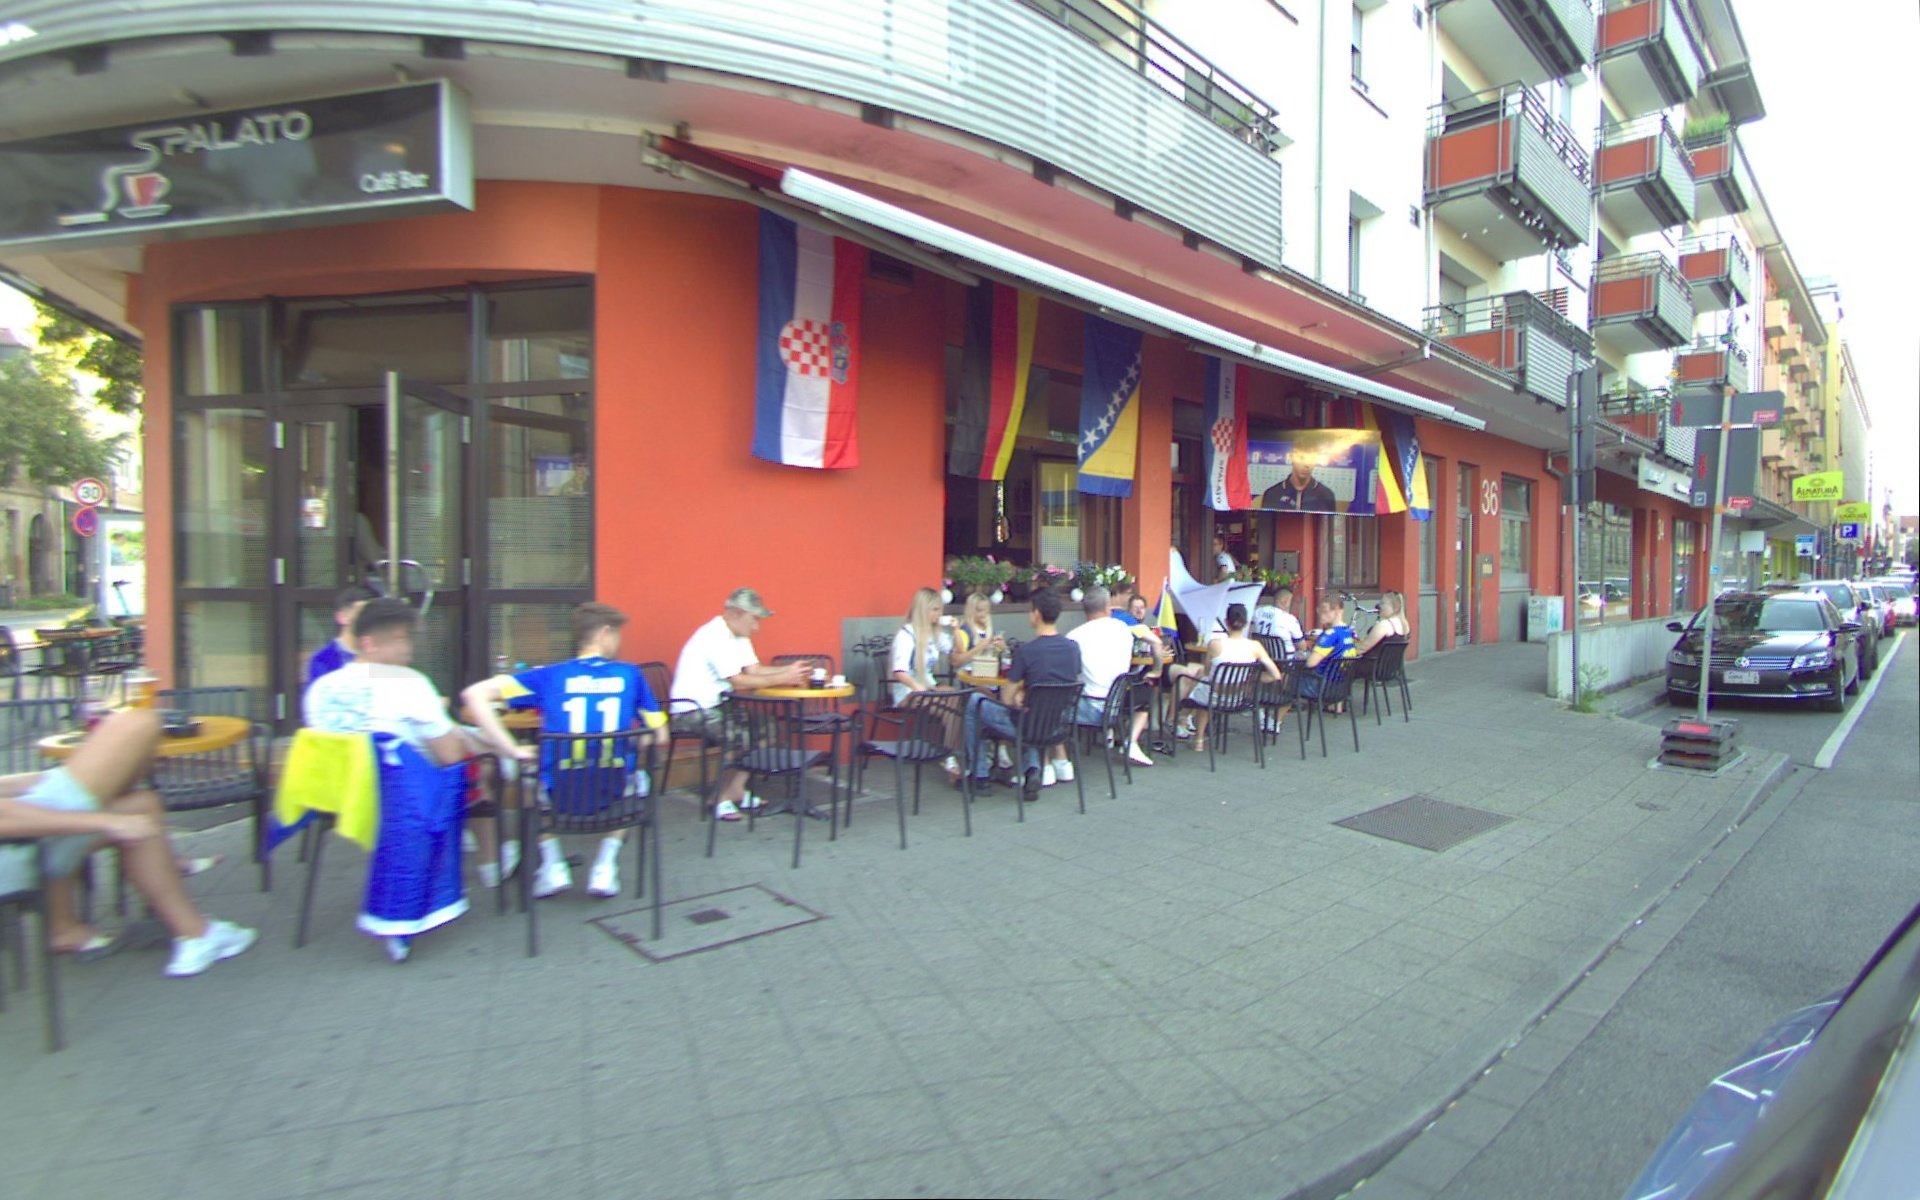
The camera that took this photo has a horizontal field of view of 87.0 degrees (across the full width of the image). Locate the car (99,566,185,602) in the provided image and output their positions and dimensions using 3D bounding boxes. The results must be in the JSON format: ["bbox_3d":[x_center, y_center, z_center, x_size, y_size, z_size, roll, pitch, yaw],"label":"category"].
[{"bbox_3d":[-37.417,-0.748,46.400,1.958,1.571,4.009,-1,2,-22],"label":"car"}]

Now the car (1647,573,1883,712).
[{"bbox_3d":[11.012,0.447,13.719,4.553,1.571,1.875,-1,1,-43],"label":"car"}]

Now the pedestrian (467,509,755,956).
[{"bbox_3d":[-1.408,0.443,4.076,0.839,1.554,0.713,-1,5,-44],"label":"pedestrian"}]

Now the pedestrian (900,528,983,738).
[{"bbox_3d":[-0.163,0.273,9.019,0.536,1.799,0.513,0,1,42],"label":"pedestrian"}]

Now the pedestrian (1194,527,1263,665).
[{"bbox_3d":[4.086,-0.067,15.414,0.799,2.039,0.670,-1,1,-35],"label":"pedestrian"}]

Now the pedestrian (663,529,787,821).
[{"bbox_3d":[-1.345,0.391,5.812,0.635,1.555,0.754,-1,0,-12],"label":"pedestrian"}]

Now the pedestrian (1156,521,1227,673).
[{"bbox_3d":[2.789,-0.041,12.189,0.610,1.760,0.608,0,1,44],"label":"pedestrian"}]

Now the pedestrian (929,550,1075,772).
[{"bbox_3d":[0.312,0.405,7.480,0.767,1.523,0.771,1,1,43],"label":"pedestrian"}]

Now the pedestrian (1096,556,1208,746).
[{"bbox_3d":[1.556,0.377,8.214,0.665,1.451,0.552,3,3,42],"label":"pedestrian"}]

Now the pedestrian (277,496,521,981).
[{"bbox_3d":[-2.030,0.439,3.714,0.675,1.555,0.715,2,1,-28],"label":"pedestrian"}]

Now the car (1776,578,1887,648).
[{"bbox_3d":[19.484,0.242,22.593,1.747,1.421,3.906,0,1,42],"label":"car"}]

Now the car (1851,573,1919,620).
[{"bbox_3d":[31.905,-0.145,34.497,4.229,1.495,1.894,-1,1,-43],"label":"car"}]

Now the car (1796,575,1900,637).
[{"bbox_3d":[23.193,0.107,26.378,3.883,1.495,1.764,-1,1,-45],"label":"car"}]

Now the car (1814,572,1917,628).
[{"bbox_3d":[26.341,-0.029,29.392,4.321,1.495,1.863,-1,1,-43],"label":"car"}]

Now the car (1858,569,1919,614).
[{"bbox_3d":[35.862,-0.340,38.507,4.291,1.637,1.997,-1,1,-41],"label":"car"}]

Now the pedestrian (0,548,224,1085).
[{"bbox_3d":[-2.808,0.553,2.899,0.761,1.399,0.834,1,2,19],"label":"pedestrian"}]

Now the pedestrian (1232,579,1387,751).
[{"bbox_3d":[2.922,0.501,8.515,0.835,1.321,0.880,-1,3,-25],"label":"pedestrian"}]

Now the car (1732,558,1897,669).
[{"bbox_3d":[15.117,0.186,17.830,1.879,1.721,4.071,0,1,45],"label":"car"}]

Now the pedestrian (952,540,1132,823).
[{"bbox_3d":[0.500,0.442,6.173,0.712,1.554,0.748,6,4,41],"label":"pedestrian"}]

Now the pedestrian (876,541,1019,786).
[{"bbox_3d":[-0.087,0.390,6.908,0.673,1.554,0.645,4,3,43],"label":"pedestrian"}]

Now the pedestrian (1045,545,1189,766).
[{"bbox_3d":[1.188,0.386,7.670,0.849,1.555,0.669,-1,0,42],"label":"pedestrian"}]

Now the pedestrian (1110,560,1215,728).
[{"bbox_3d":[1.820,0.371,9.098,0.712,1.439,0.592,-1,0,44],"label":"pedestrian"}]

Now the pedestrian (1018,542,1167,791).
[{"bbox_3d":[0.899,0.404,6.845,0.648,1.545,0.690,6,4,41],"label":"pedestrian"}]

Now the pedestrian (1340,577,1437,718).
[{"bbox_3d":[4.274,0.442,10.119,0.843,1.293,0.709,1,4,23],"label":"pedestrian"}]

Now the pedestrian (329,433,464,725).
[{"bbox_3d":[-4.271,-0.163,7.675,0.838,2.039,0.912,0,1,-31],"label":"pedestrian"}]

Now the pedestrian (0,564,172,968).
[{"bbox_3d":[-3.422,0.540,3.412,0.677,1.297,0.962,1,3,20],"label":"pedestrian"}]

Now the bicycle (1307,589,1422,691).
[{"bbox_3d":[4.836,0.433,12.017,0.548,1.101,1.973,-1,0,44],"label":"bicycle"}]

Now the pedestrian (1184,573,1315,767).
[{"bbox_3d":[2.200,0.489,7.687,0.653,1.361,0.738,4,3,42],"label":"pedestrian"}]

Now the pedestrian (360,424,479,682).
[{"bbox_3d":[-4.590,-0.385,8.592,0.845,2.039,0.815,-1,1,-30],"label":"pedestrian"}]

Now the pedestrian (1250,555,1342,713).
[{"bbox_3d":[3.483,0.335,10.465,0.843,1.555,0.709,-1,0,23],"label":"pedestrian"}]

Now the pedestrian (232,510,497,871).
[{"bbox_3d":[-2.803,0.389,4.842,0.703,1.555,0.850,-1,0,10],"label":"pedestrian"}]

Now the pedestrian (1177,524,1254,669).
[{"bbox_3d":[3.203,-0.049,12.675,0.716,1.742,0.658,0,1,44],"label":"pedestrian"}]
